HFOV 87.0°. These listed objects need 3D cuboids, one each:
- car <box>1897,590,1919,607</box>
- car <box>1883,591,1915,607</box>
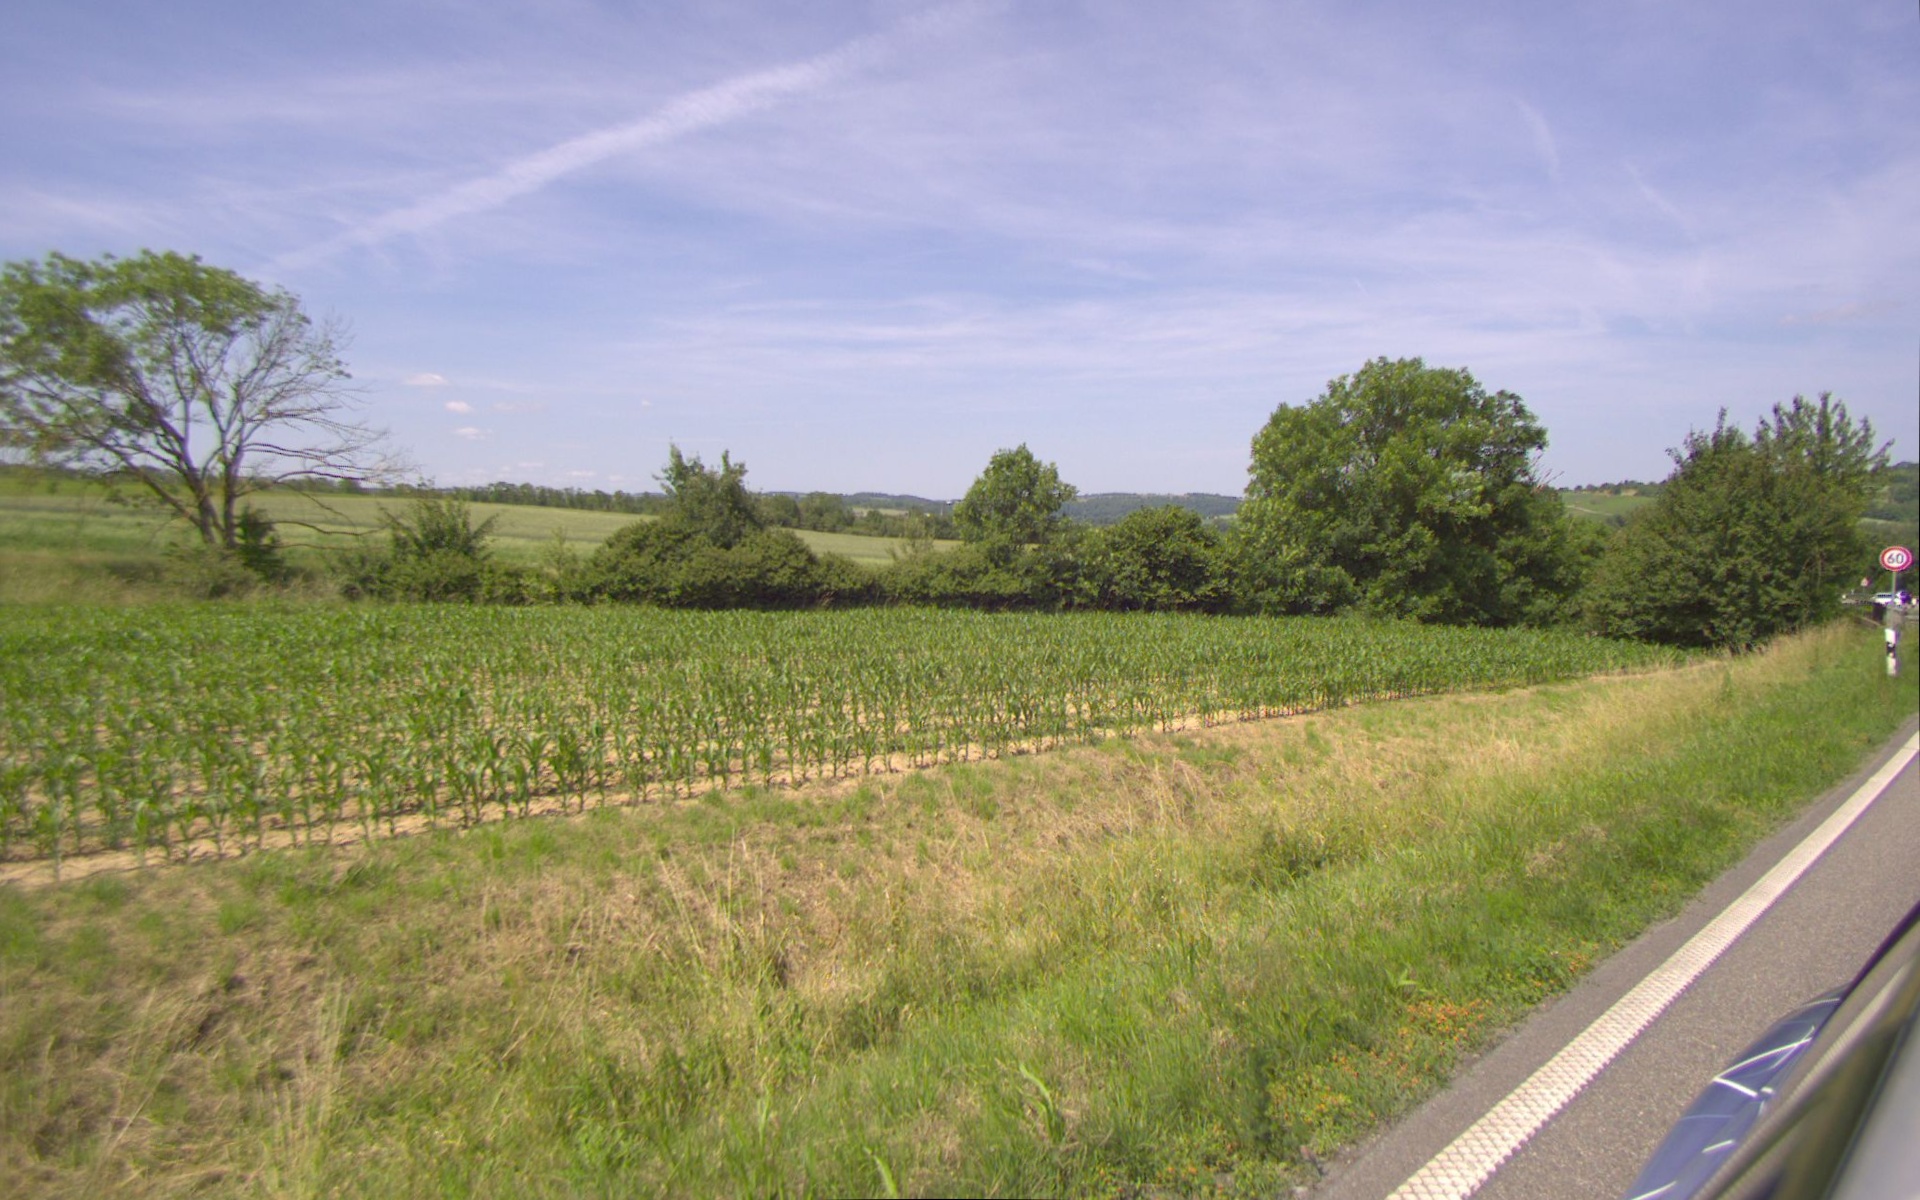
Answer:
[{"bbox_3d":[103.962,-0.213,110.504,1.782,1.830,3.952,0,1,33],"label":"car"},{"bbox_3d":[84.407,-0.113,91.011,1.699,1.393,4.541,2,1,37],"label":"car"}]
